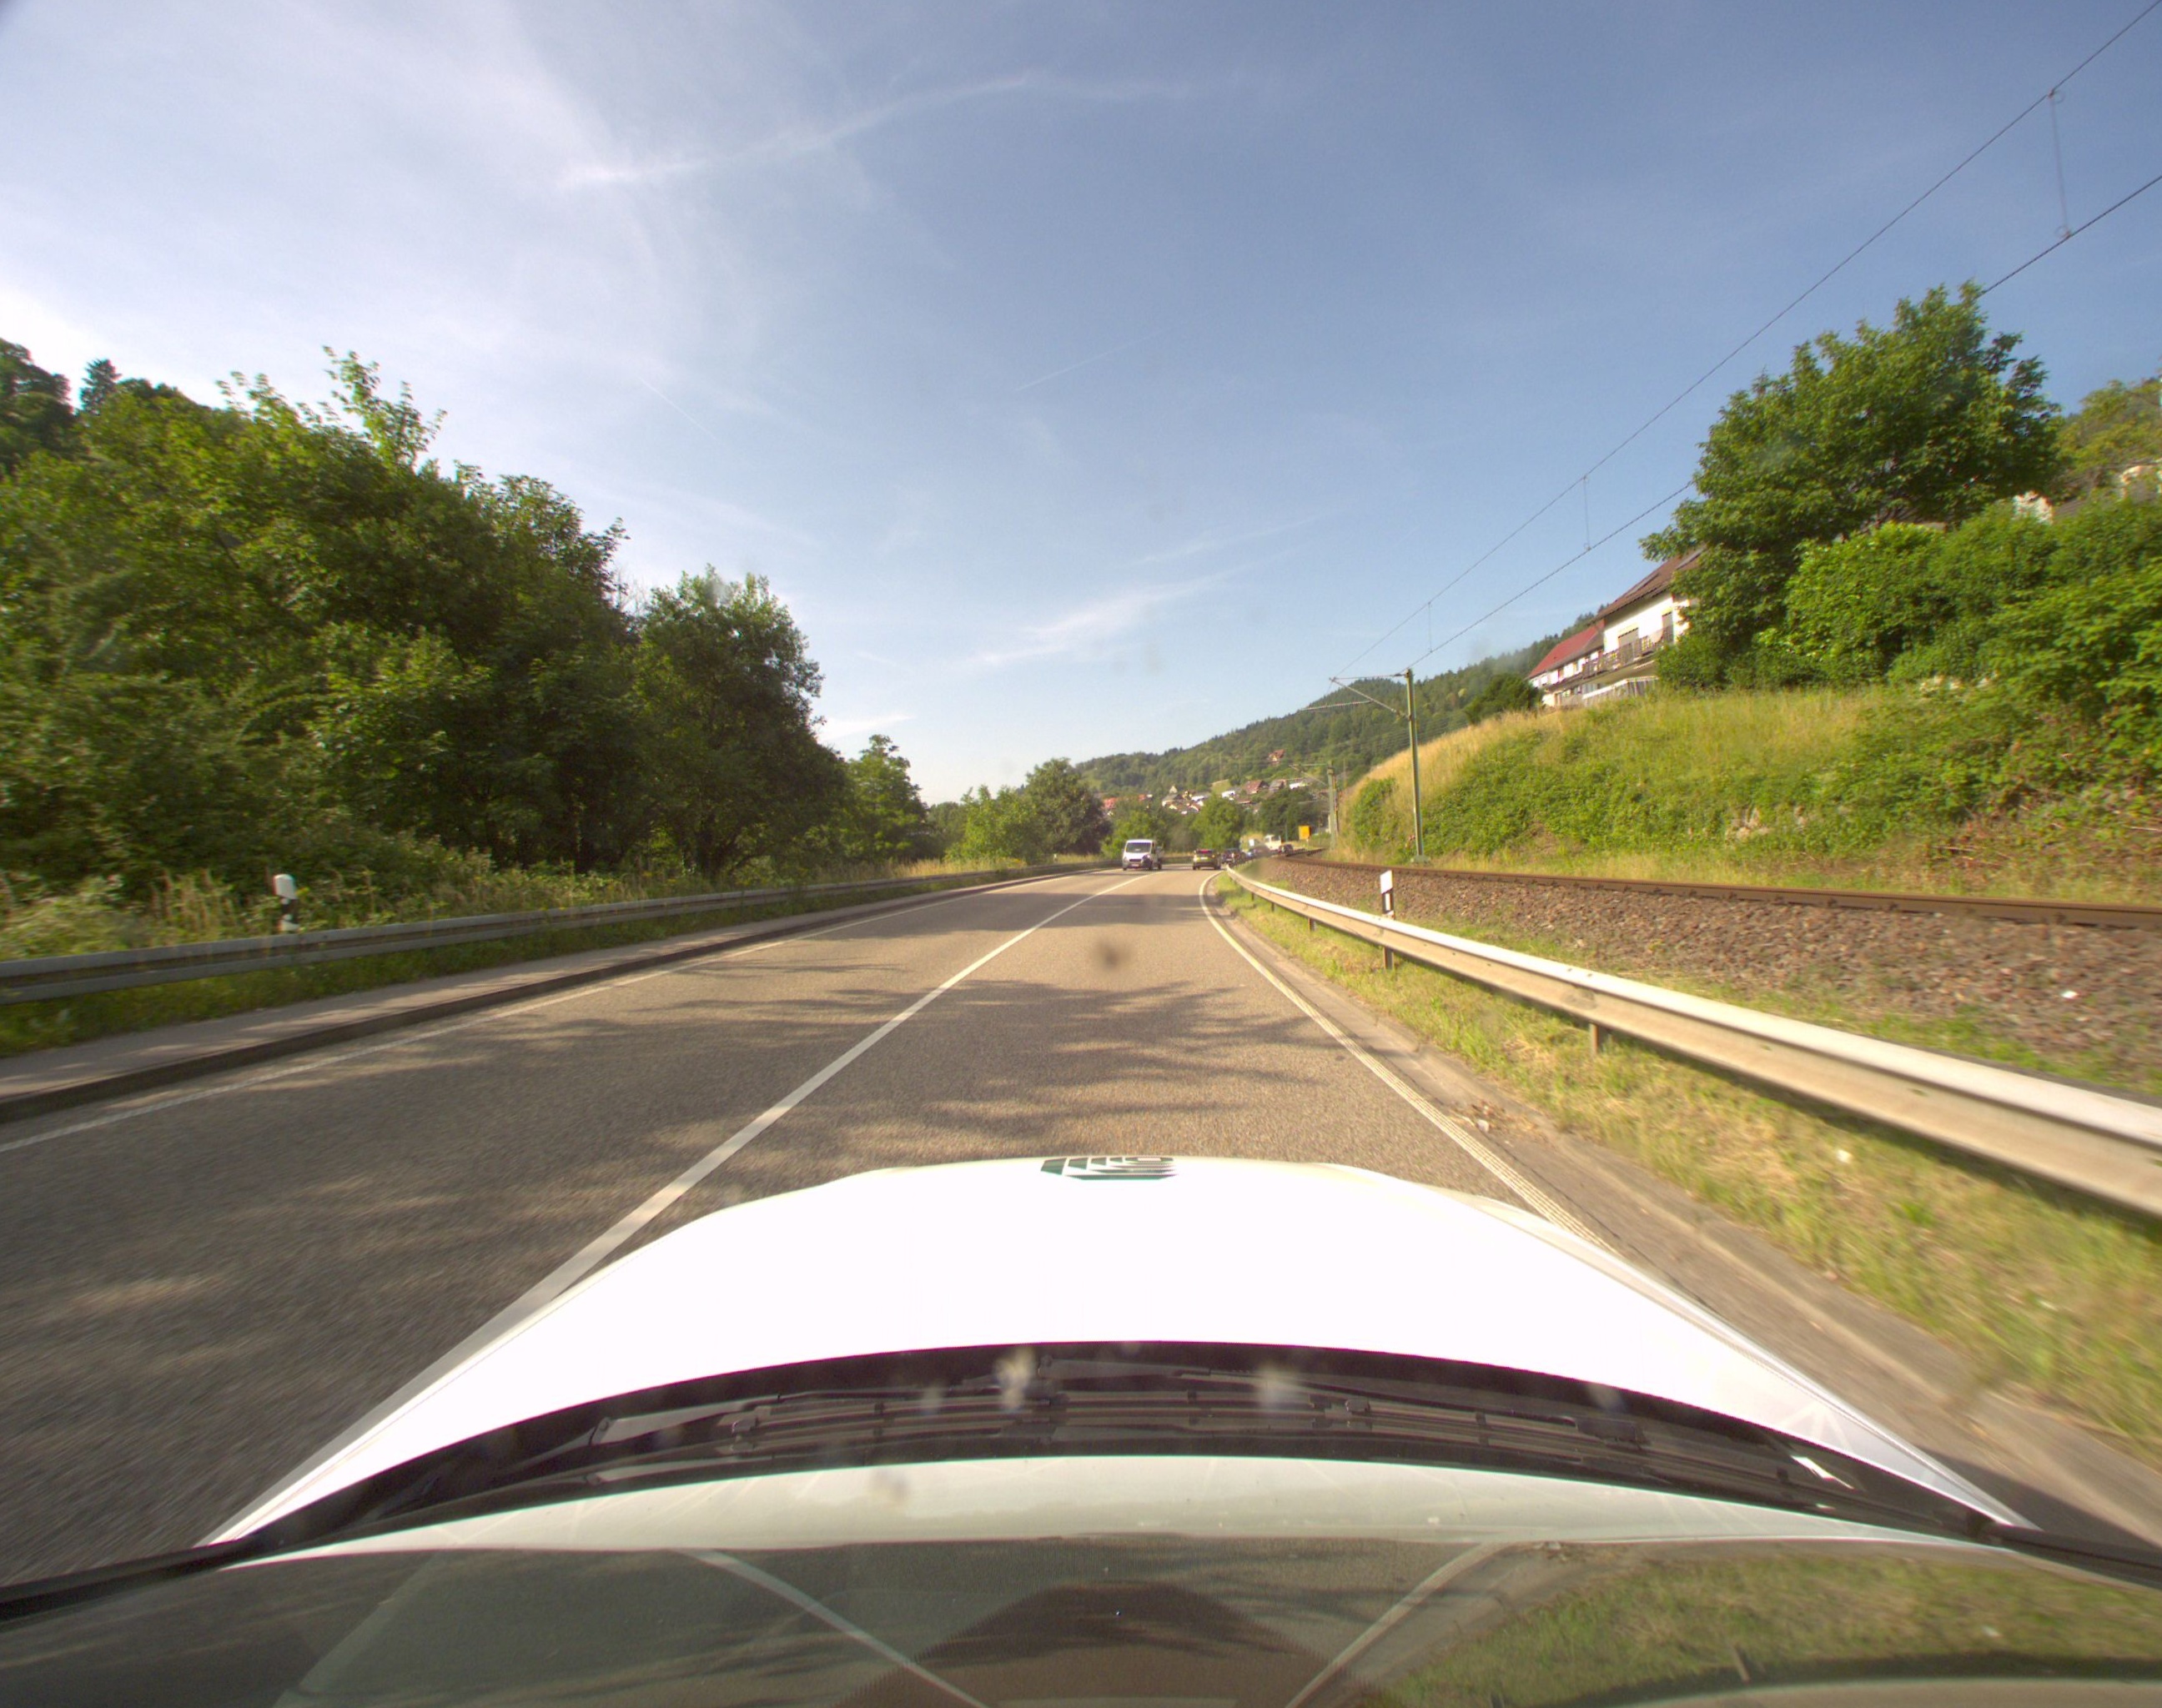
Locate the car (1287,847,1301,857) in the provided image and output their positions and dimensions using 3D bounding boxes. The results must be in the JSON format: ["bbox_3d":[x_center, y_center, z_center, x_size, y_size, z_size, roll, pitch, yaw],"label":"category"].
[{"bbox_3d":[39.798,-0.347,151.923,2.046,1.811,4.020,-2,0,20],"label":"car"}]

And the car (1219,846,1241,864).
[{"bbox_3d":[13.643,0.107,74.336,1.655,1.559,4.016,-2,0,15],"label":"car"}]

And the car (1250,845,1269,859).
[{"bbox_3d":[22.189,-0.299,101.103,1.865,1.686,4.019,-2,0,19],"label":"car"}]

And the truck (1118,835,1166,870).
[{"bbox_3d":[4.516,-0.084,58.705,2.141,2.366,6.773,1,0,15],"label":"truck"}]

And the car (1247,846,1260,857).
[{"bbox_3d":[27.044,-0.401,127.359,1.738,1.567,4.017,-2,0,15],"label":"car"}]

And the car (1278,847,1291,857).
[{"bbox_3d":[31.158,-0.278,124.601,1.835,1.527,3.678,-1,0,16],"label":"car"}]

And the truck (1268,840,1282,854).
[{"bbox_3d":[44.272,-1.672,186.009,2.695,3.084,6.125,0,0,10],"label":"truck"}]

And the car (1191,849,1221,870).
[{"bbox_3d":[9.063,0.389,58.912,1.702,1.455,4.015,1,0,14],"label":"car"}]
